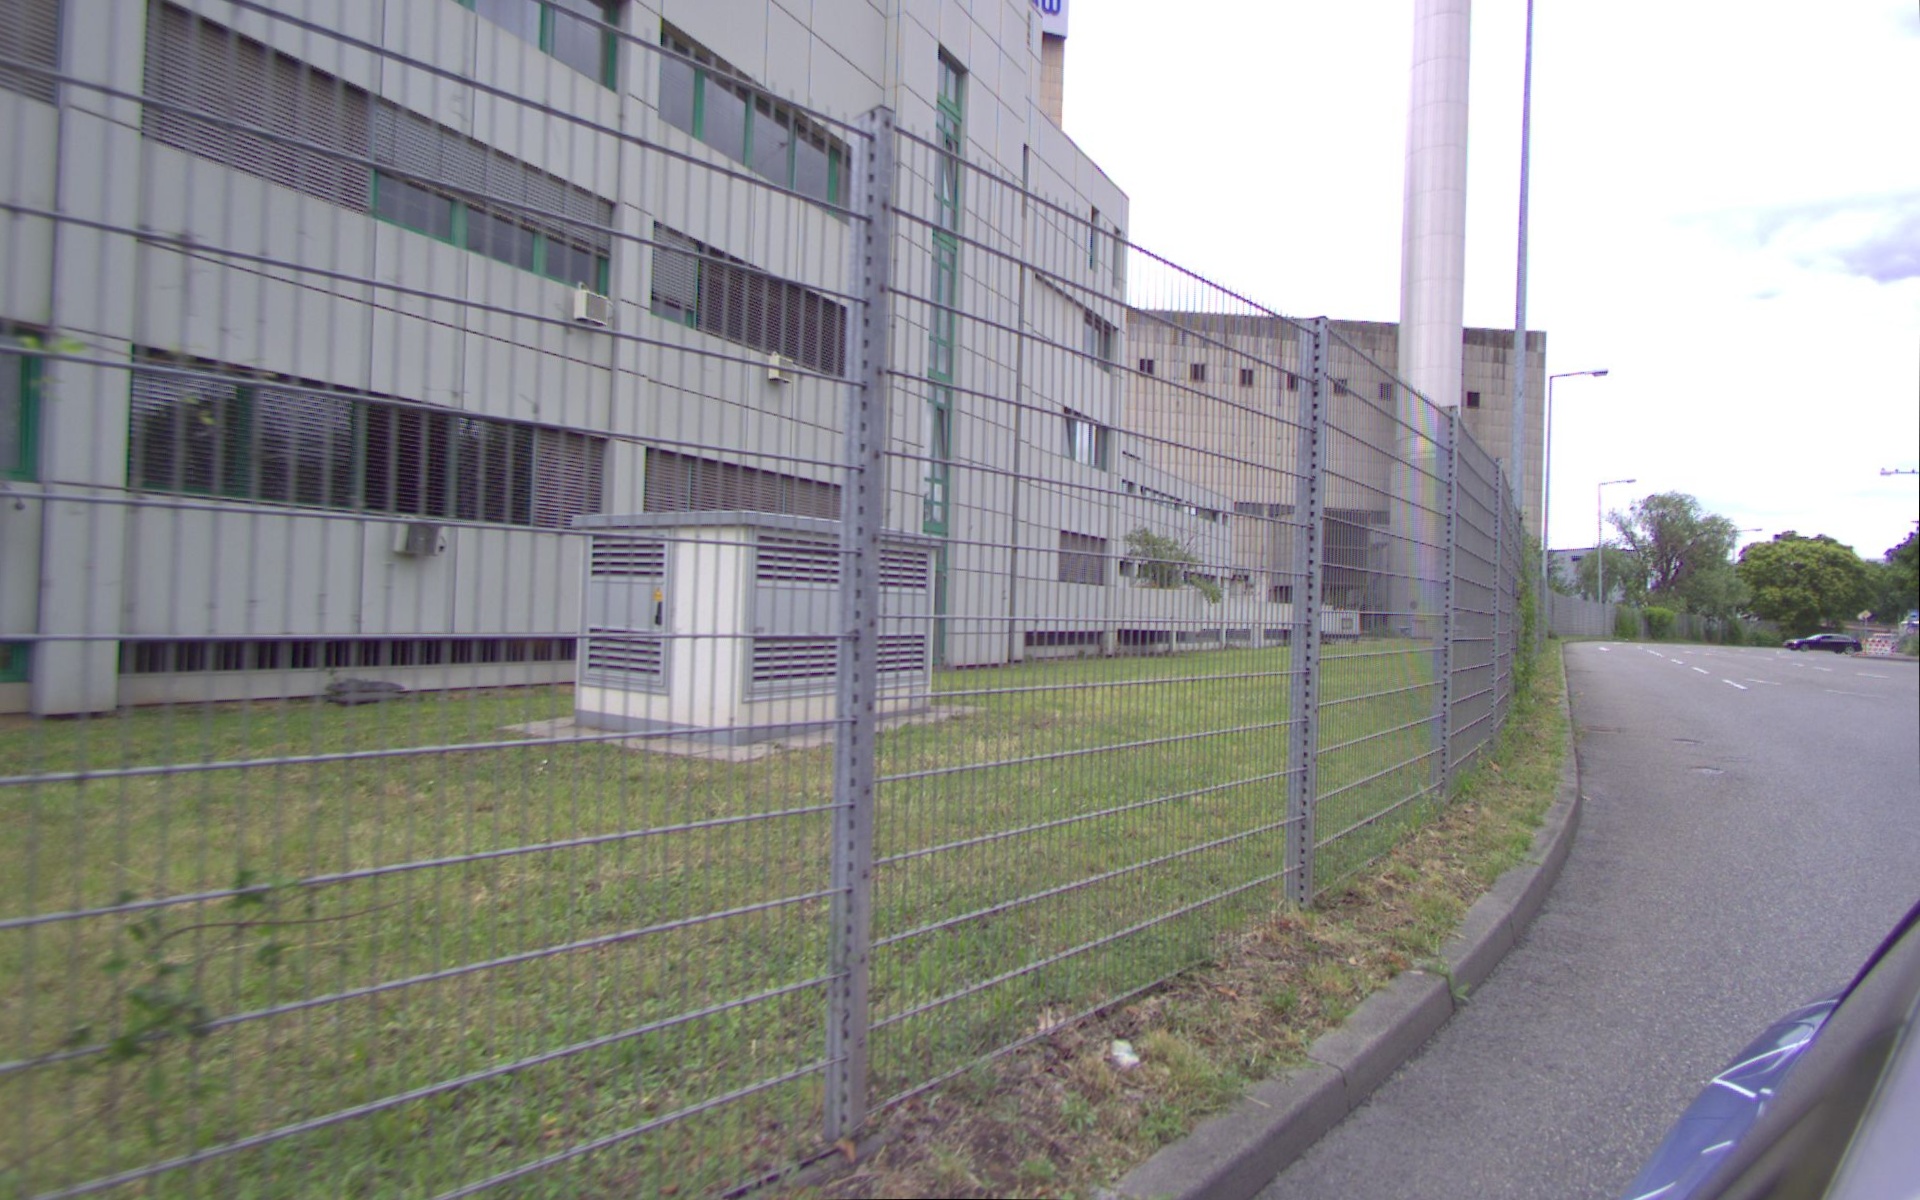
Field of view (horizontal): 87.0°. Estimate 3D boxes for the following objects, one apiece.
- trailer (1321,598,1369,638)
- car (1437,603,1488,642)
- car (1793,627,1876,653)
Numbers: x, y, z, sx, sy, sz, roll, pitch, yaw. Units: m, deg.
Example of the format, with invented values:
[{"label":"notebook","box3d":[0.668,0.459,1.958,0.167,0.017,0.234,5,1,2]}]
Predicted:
[{"label":"trailer","box3d":[26.418,1.290,69.655,2.629,2.576,6.395,1,-1,17]},{"label":"car","box3d":[35.964,1.642,72.592,2.206,2.581,5.166,1,-3,14]},{"label":"car","box3d":[65.300,2.948,75.578,4.607,1.833,1.968,0,-2,44]}]
